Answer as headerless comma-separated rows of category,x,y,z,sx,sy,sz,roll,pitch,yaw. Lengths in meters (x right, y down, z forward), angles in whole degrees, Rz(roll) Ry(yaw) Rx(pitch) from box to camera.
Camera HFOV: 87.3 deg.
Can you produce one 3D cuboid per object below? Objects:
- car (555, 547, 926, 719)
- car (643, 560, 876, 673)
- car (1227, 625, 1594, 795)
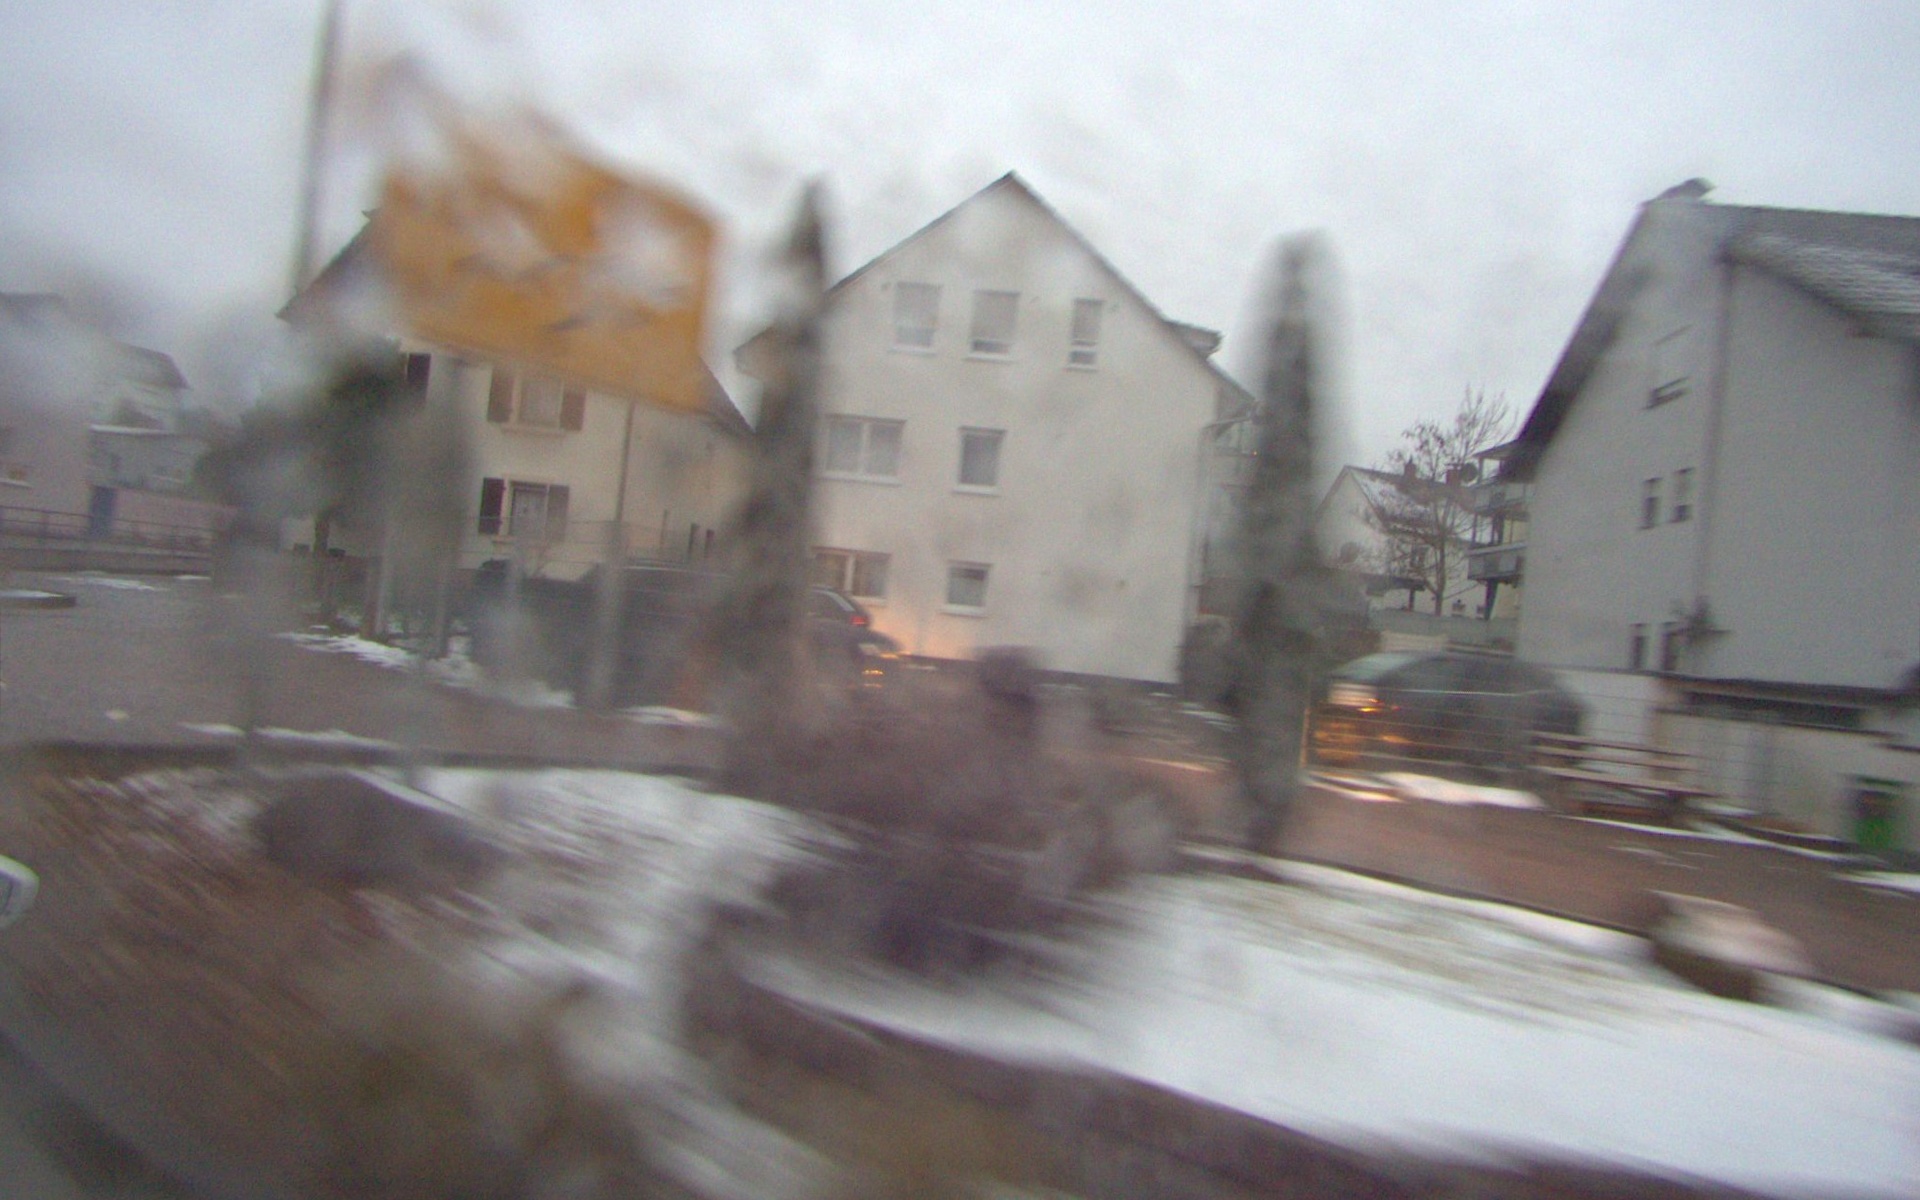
car,-2.796,0.403,13.561,4.467,1.650,1.814,7,2,0
car,-3.727,0.286,19.198,3.926,1.587,1.814,7,2,0
car,6.019,1.435,13.810,4.059,1.653,1.814,7,2,0
